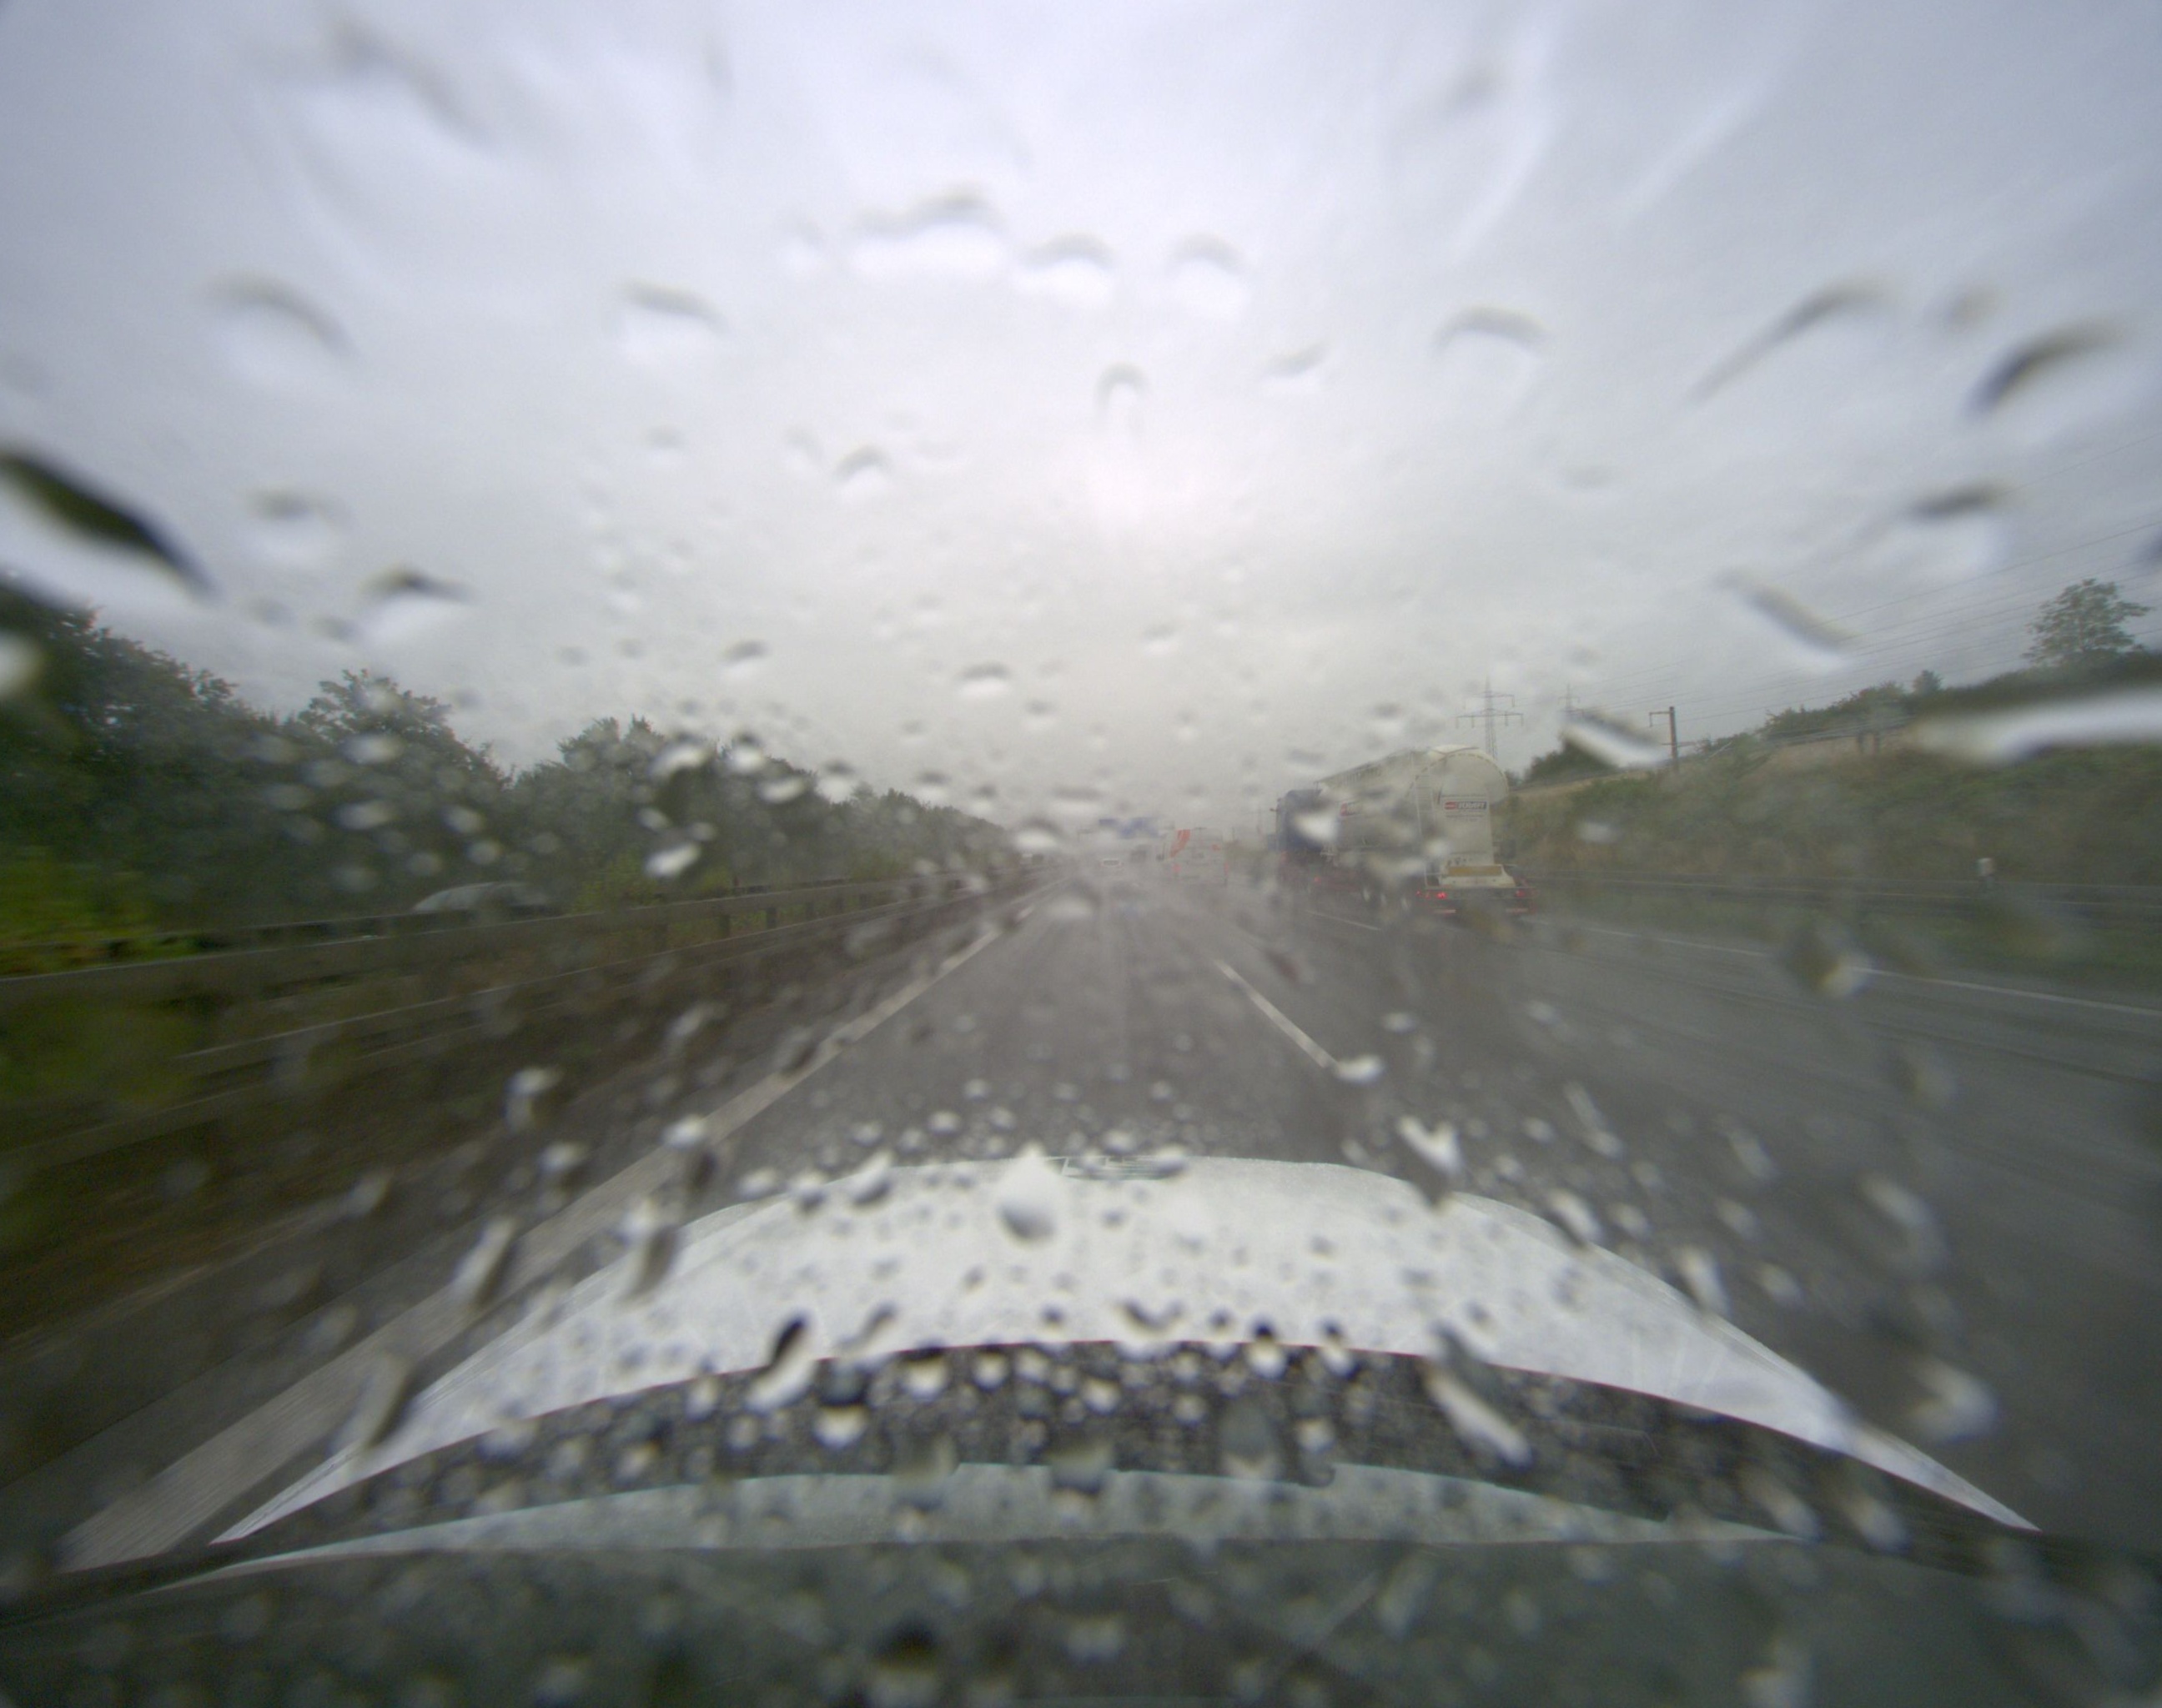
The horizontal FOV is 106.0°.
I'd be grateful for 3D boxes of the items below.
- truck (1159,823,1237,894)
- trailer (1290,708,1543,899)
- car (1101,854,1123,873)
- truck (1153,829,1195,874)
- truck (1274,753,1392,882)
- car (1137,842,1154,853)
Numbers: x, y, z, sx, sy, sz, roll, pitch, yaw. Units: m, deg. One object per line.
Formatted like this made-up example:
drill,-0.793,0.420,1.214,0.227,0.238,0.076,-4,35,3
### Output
truck,4.414,0.157,31.609,2.410,2.492,5.563,-1,0,2
trailer,8.269,-1.067,22.180,2.488,3.882,11.068,-1,0,1
car,2.312,0.717,61.929,1.600,1.338,3.849,-1,0,1
truck,10.299,-0.146,91.667,3.029,4.588,16.351,-1,-1,1
truck,8.384,-1.139,27.687,2.488,3.983,5.076,-1,0,1
car,11.950,-1.210,151.442,2.778,2.013,4.994,-1,0,1
